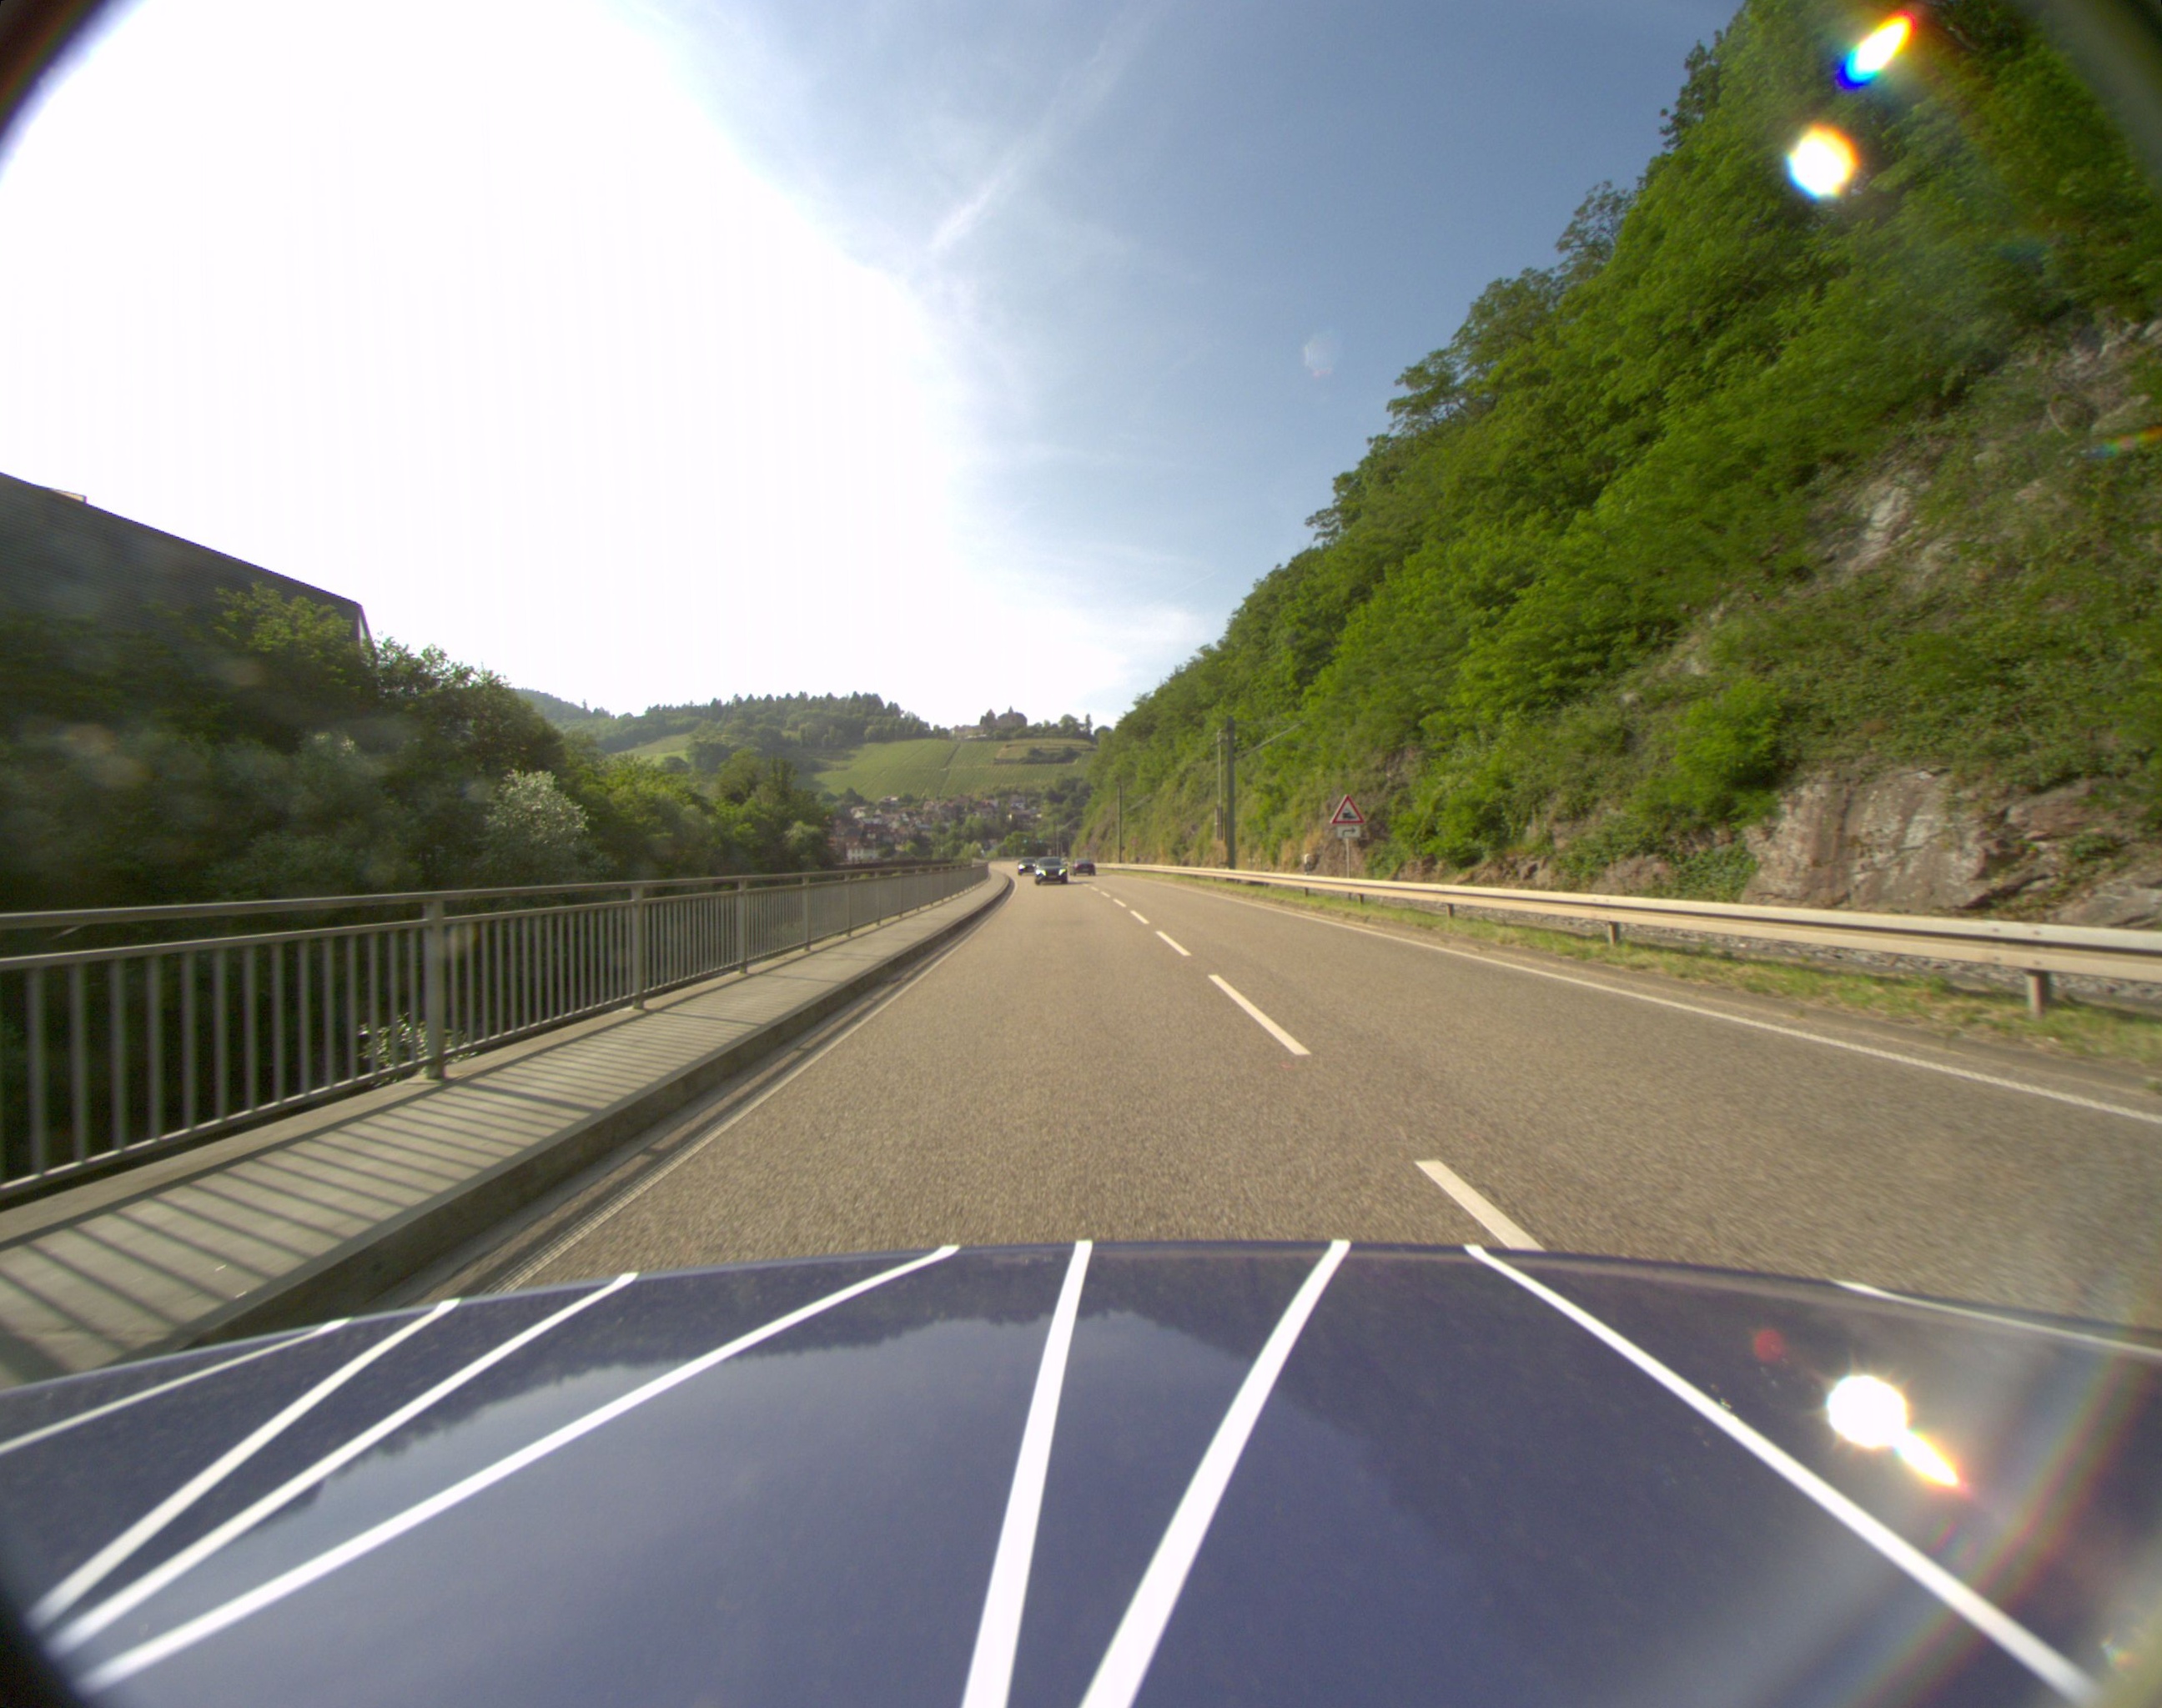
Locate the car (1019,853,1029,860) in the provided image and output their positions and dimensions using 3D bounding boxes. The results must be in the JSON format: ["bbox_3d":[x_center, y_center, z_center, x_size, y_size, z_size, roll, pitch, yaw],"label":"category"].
[{"bbox_3d":[-13.095,0.494,175.088,1.853,1.535,4.600,-2,0,-9],"label":"car"}]

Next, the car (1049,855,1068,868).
[{"bbox_3d":[-2.608,0.861,86.543,1.852,1.431,3.896,-2,0,-5],"label":"car"}]

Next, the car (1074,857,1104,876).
[{"bbox_3d":[0.569,0.953,61.009,1.853,1.394,4.474,-3,0,-6],"label":"car"}]

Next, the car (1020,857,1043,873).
[{"bbox_3d":[-4.676,0.993,70.992,1.999,1.384,3.998,1,0,-5],"label":"car"}]

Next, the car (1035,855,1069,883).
[{"bbox_3d":[-1.818,0.889,46.040,1.864,1.576,3.999,-2,-1,-4],"label":"car"}]

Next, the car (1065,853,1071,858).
[{"bbox_3d":[-4.342,0.509,253.905,2.069,1.431,4.686,2,-1,-1],"label":"car"}]
